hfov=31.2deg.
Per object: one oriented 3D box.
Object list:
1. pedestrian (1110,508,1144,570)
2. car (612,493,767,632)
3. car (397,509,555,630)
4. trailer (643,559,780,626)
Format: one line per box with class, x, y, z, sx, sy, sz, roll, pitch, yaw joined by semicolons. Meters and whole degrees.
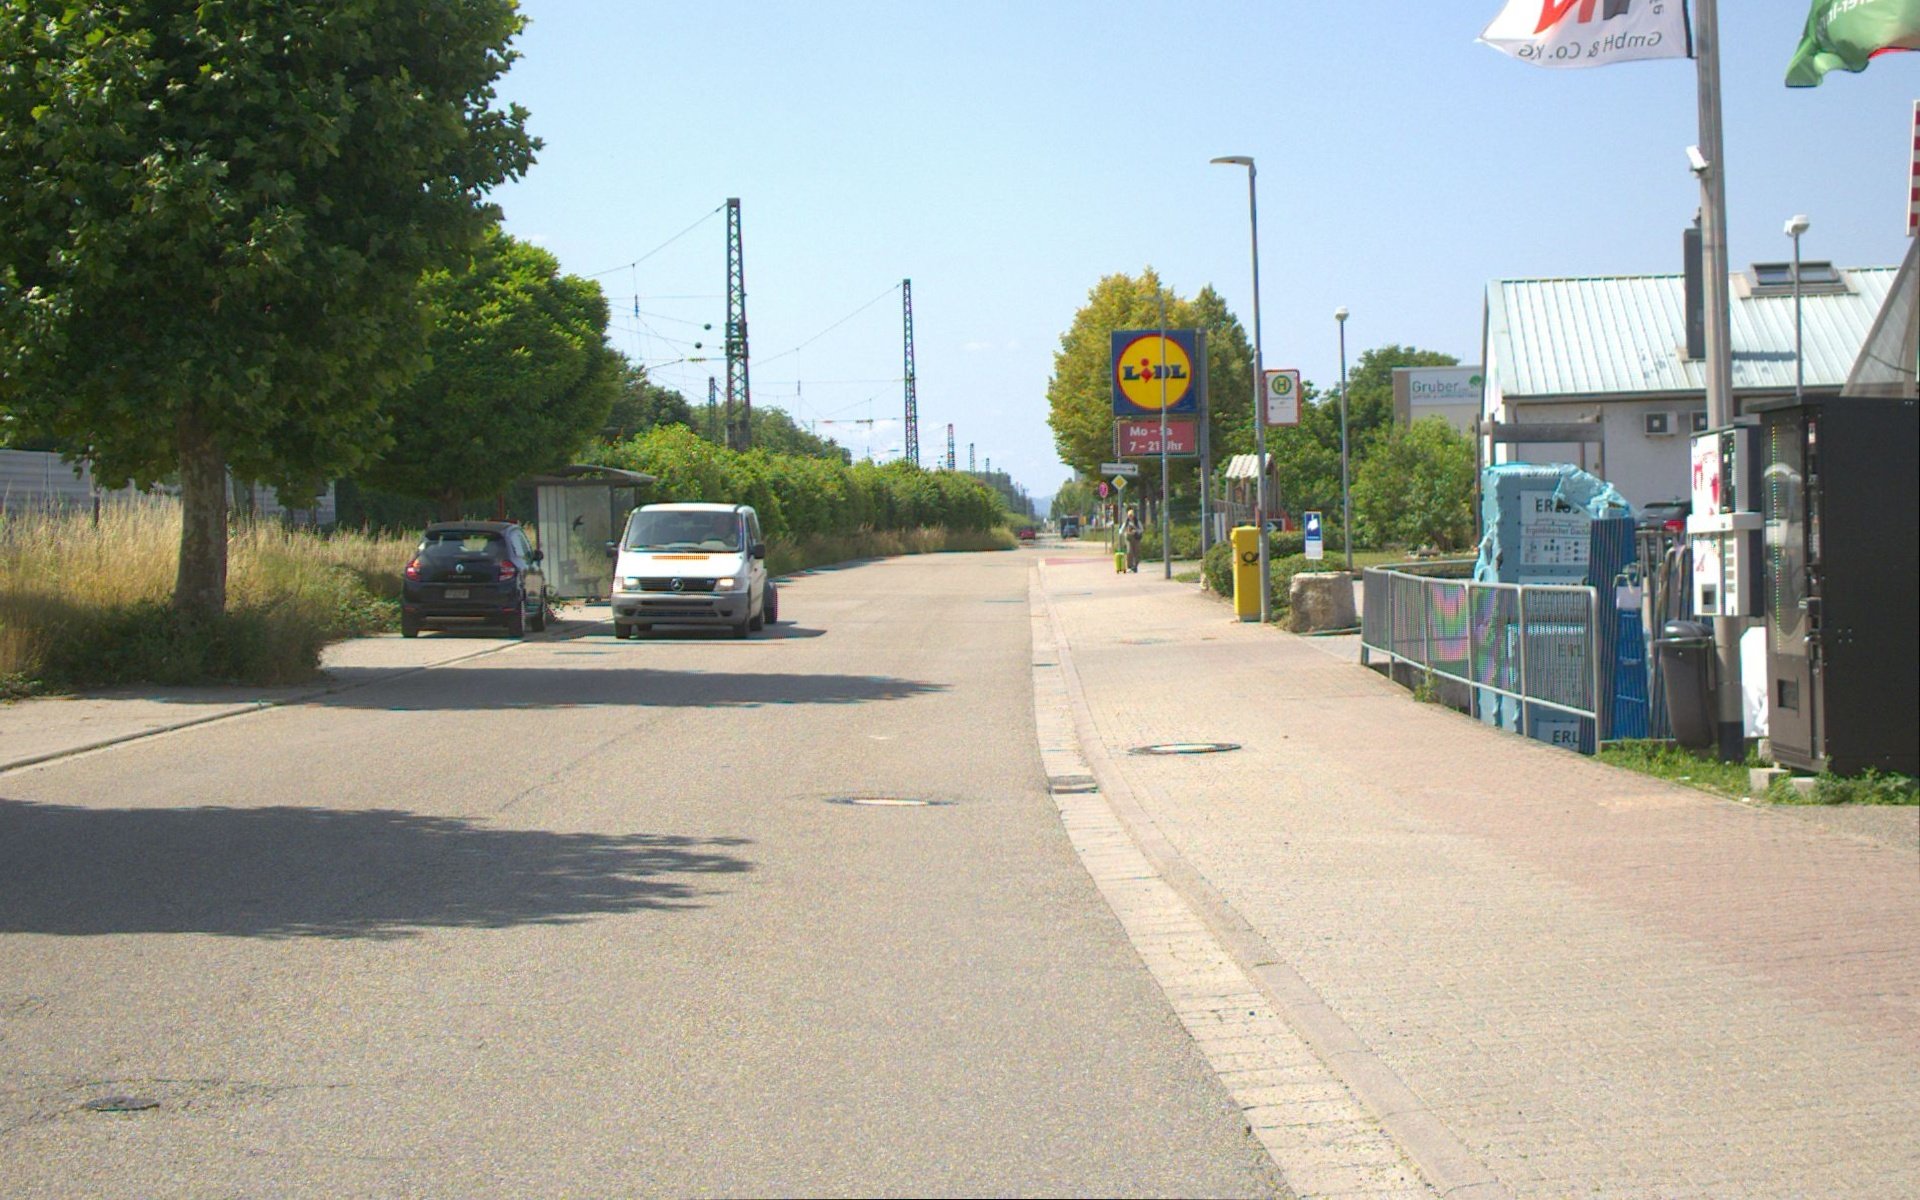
pedestrian;4.371;-1.606;89.946;0.761;1.596;1.210;-1;1;-2
car;-3.755;-0.548;48.390;1.838;1.851;4.484;0;1;0
car;-6.664;-0.450;47.637;1.741;1.590;3.580;0;1;-1
trailer;-3.772;-0.138;52.780;1.818;0.847;4.223;-2;2;-1
